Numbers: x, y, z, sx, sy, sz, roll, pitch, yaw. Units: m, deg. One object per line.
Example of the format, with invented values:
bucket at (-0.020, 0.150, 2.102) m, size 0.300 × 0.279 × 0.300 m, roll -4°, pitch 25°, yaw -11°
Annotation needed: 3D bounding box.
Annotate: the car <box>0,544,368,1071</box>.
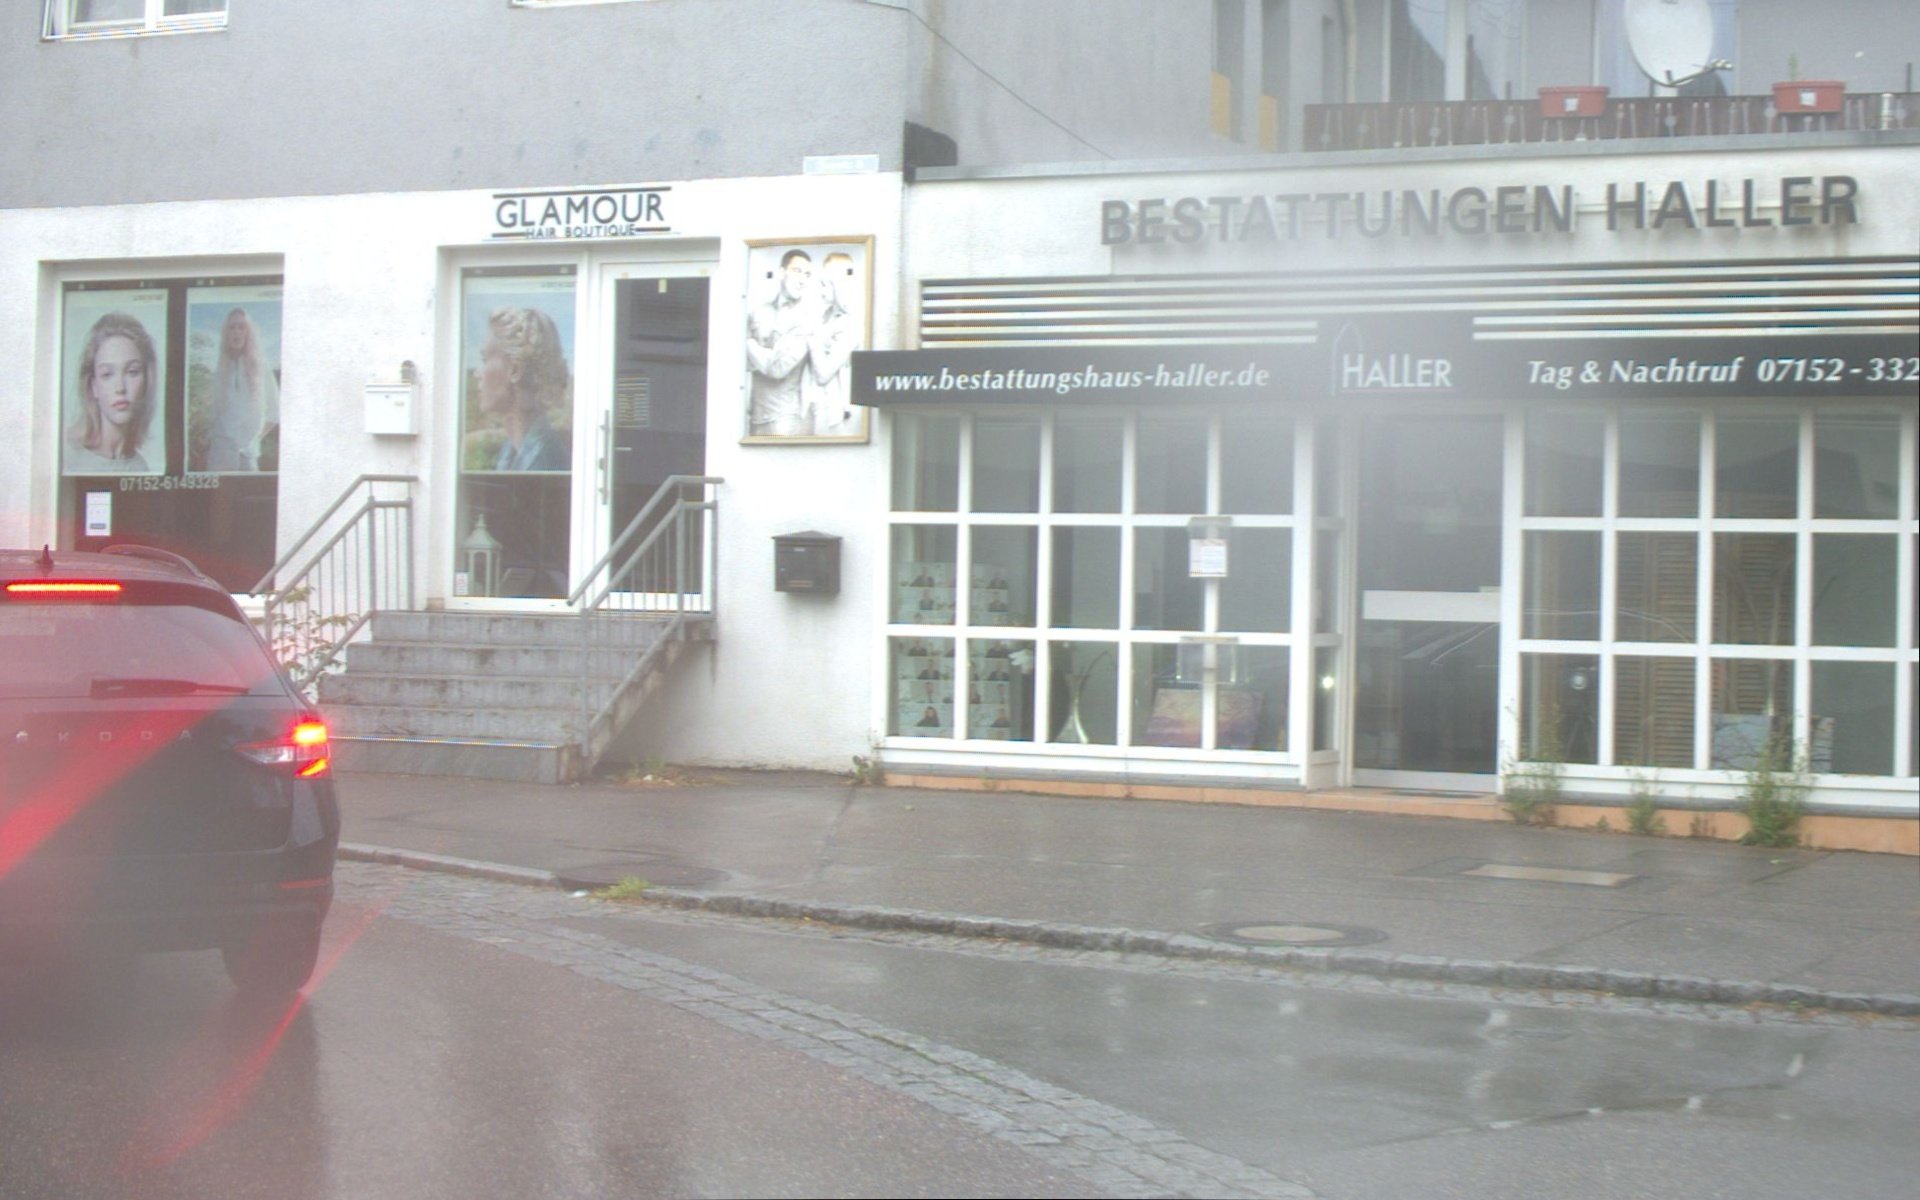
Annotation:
car at (-3.549, 0.575, 12.063) m, size 1.732 × 1.445 × 4.242 m, roll 0°, pitch 2°, yaw -27°
